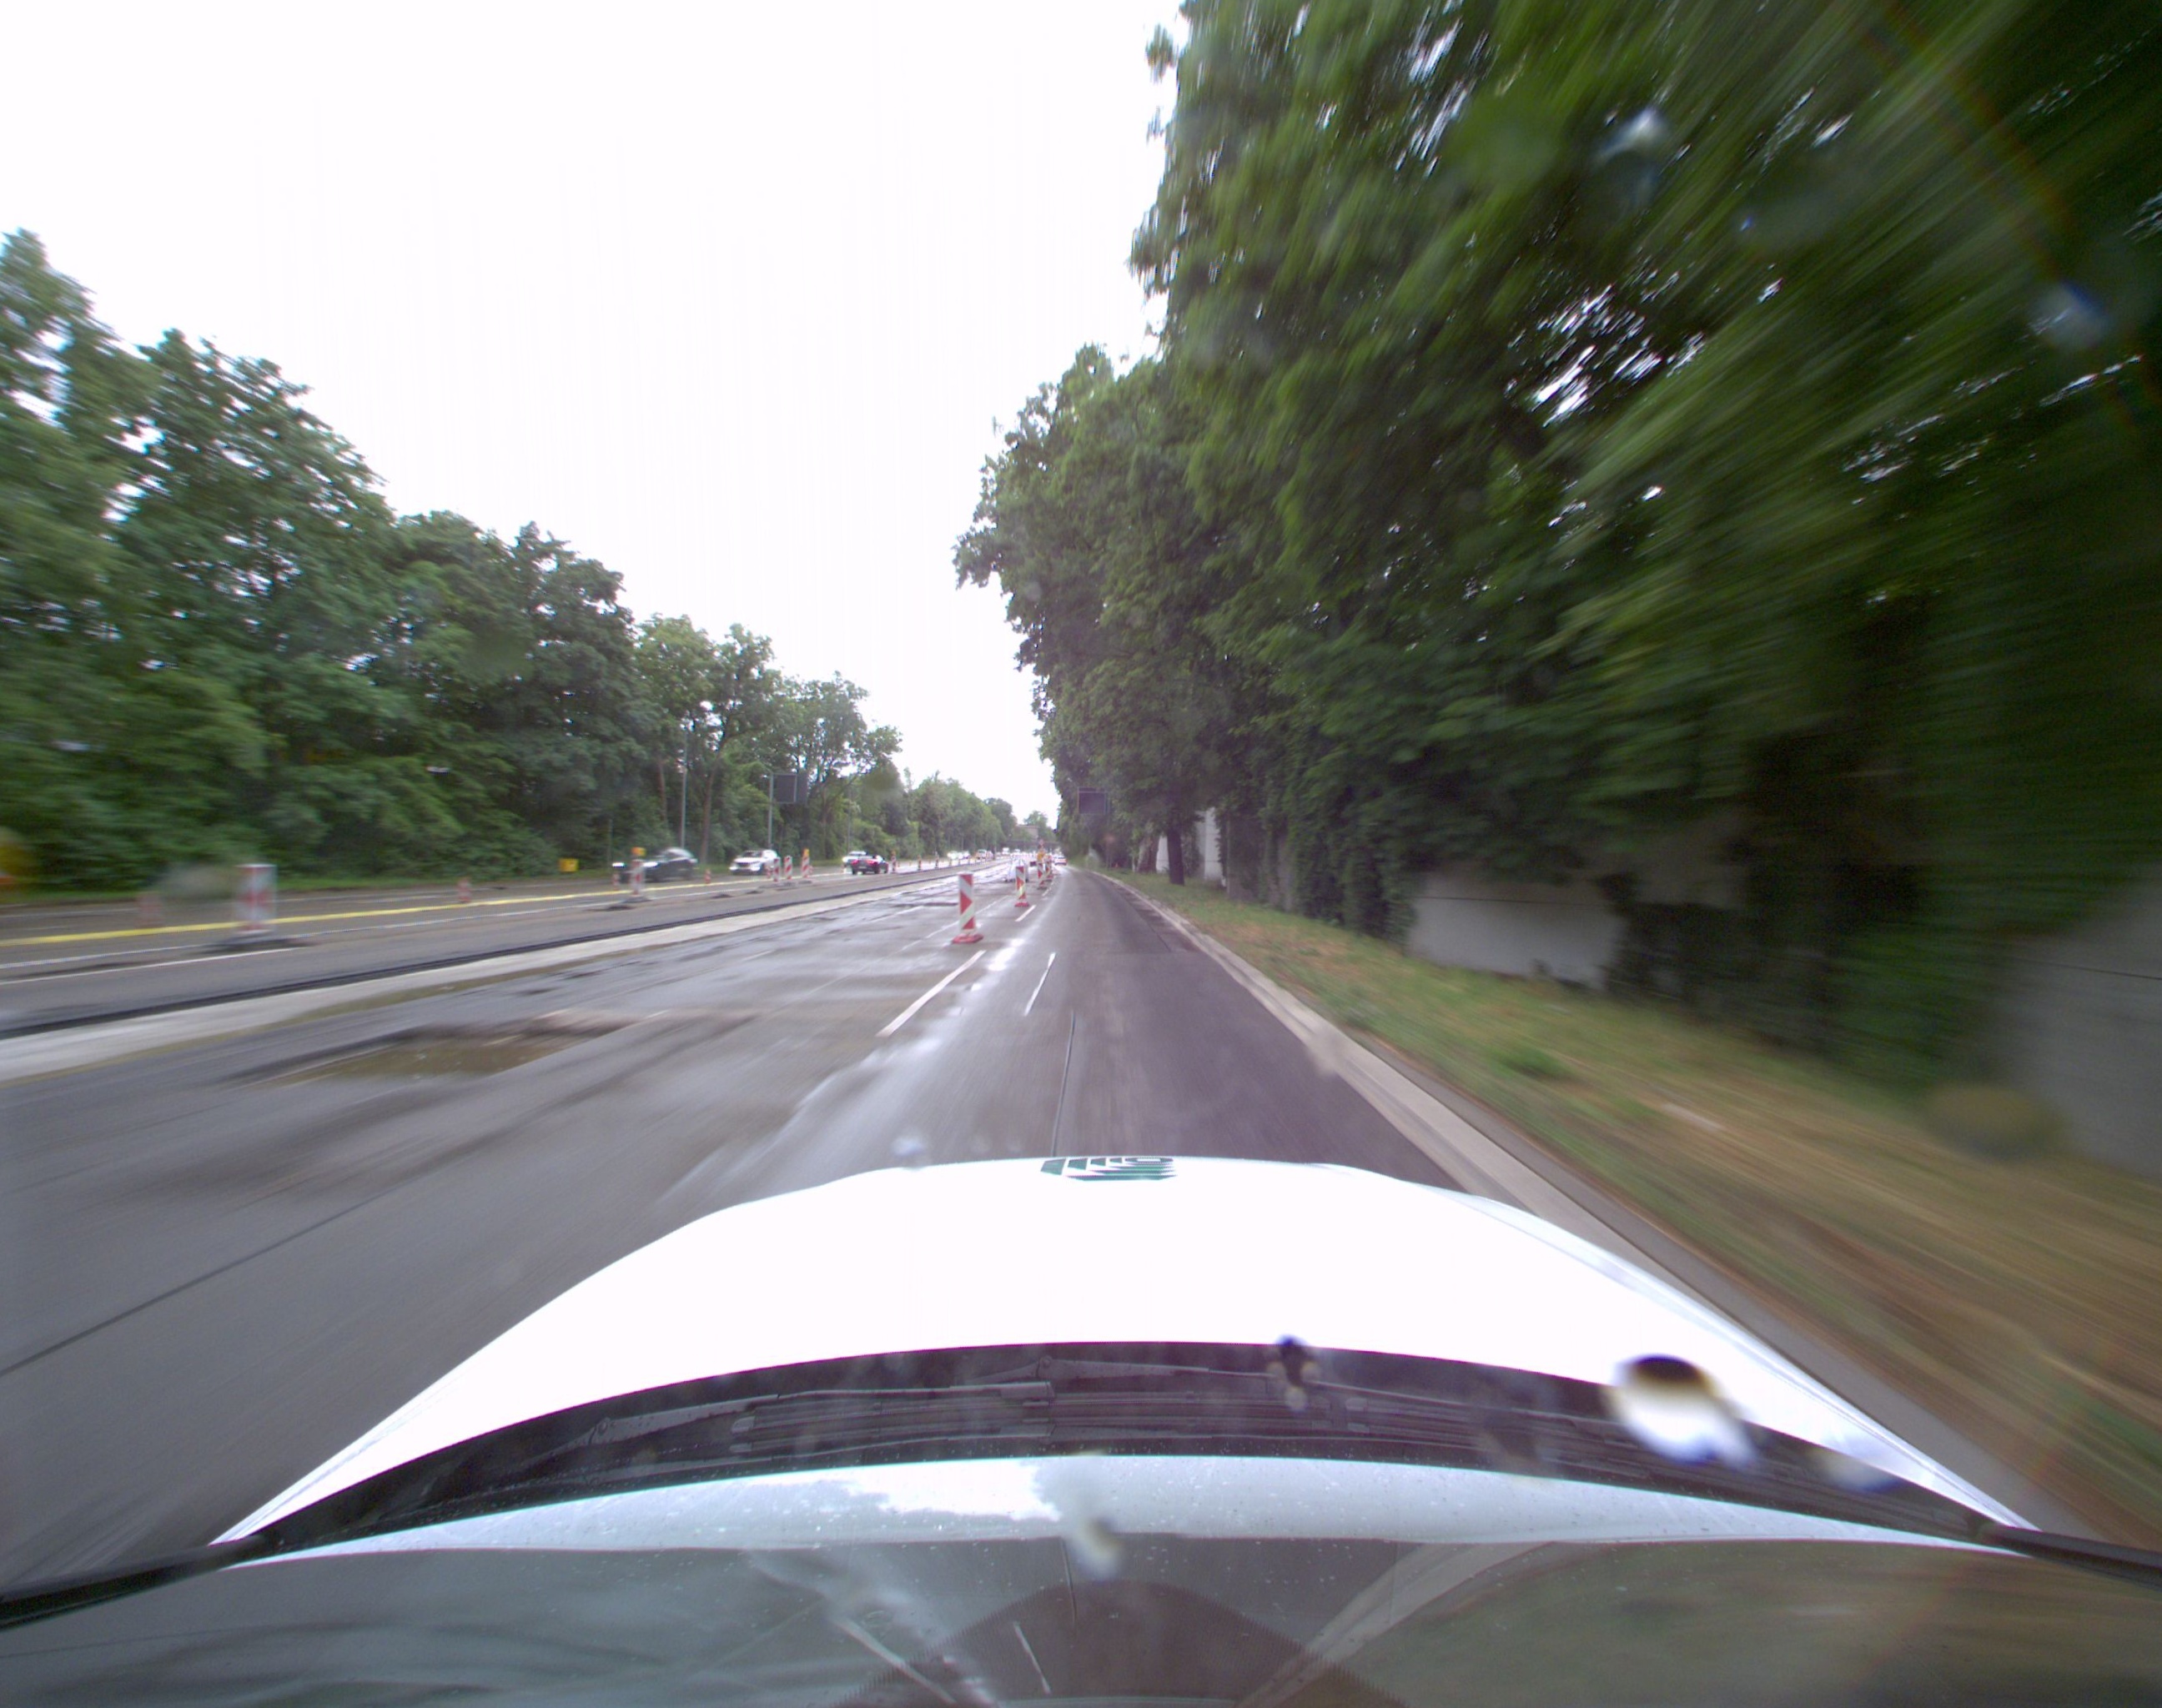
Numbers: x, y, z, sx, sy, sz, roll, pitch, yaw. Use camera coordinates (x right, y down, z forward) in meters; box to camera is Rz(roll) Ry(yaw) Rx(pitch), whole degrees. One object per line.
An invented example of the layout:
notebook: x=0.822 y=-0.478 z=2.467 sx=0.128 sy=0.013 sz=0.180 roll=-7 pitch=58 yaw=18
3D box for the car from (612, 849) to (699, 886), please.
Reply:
car: x=-20.606 y=0.628 z=39.660 sx=1.772 sy=1.663 sz=4.912 roll=-1 pitch=0 yaw=-2

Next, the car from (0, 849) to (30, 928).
car: x=-20.667 y=0.630 z=12.960 sx=1.778 sy=1.452 sz=4.680 roll=0 pitch=0 yaw=0

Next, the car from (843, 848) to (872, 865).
car: x=-21.704 y=0.222 z=79.254 sx=1.661 sy=1.541 sz=4.156 roll=-2 pitch=0 yaw=-1

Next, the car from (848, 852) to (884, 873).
car: x=-15.269 y=0.571 z=58.056 sx=1.603 sy=1.404 sz=4.038 roll=1 pitch=0 yaw=-2

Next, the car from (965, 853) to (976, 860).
car: x=-22.146 y=0.586 z=163.455 sx=1.814 sy=1.355 sz=4.200 roll=0 pitch=0 yaw=-3

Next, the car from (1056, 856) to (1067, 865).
car: x=-3.145 y=1.042 z=131.995 sx=1.693 sy=1.336 sz=3.487 roll=-1 pitch=0 yaw=-3

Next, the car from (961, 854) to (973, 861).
car: x=-22.093 y=0.604 z=157.898 sx=1.814 sy=1.355 sz=4.385 roll=0 pitch=0 yaw=-3

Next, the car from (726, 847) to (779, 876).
car: x=-21.142 y=0.469 z=52.603 sx=1.772 sy=1.751 sz=4.377 roll=0 pitch=0 yaw=-2

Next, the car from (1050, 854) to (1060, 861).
car: x=-5.214 y=0.717 z=166.195 sx=1.848 sy=1.433 sz=3.731 roll=0 pitch=-1 yaw=1
